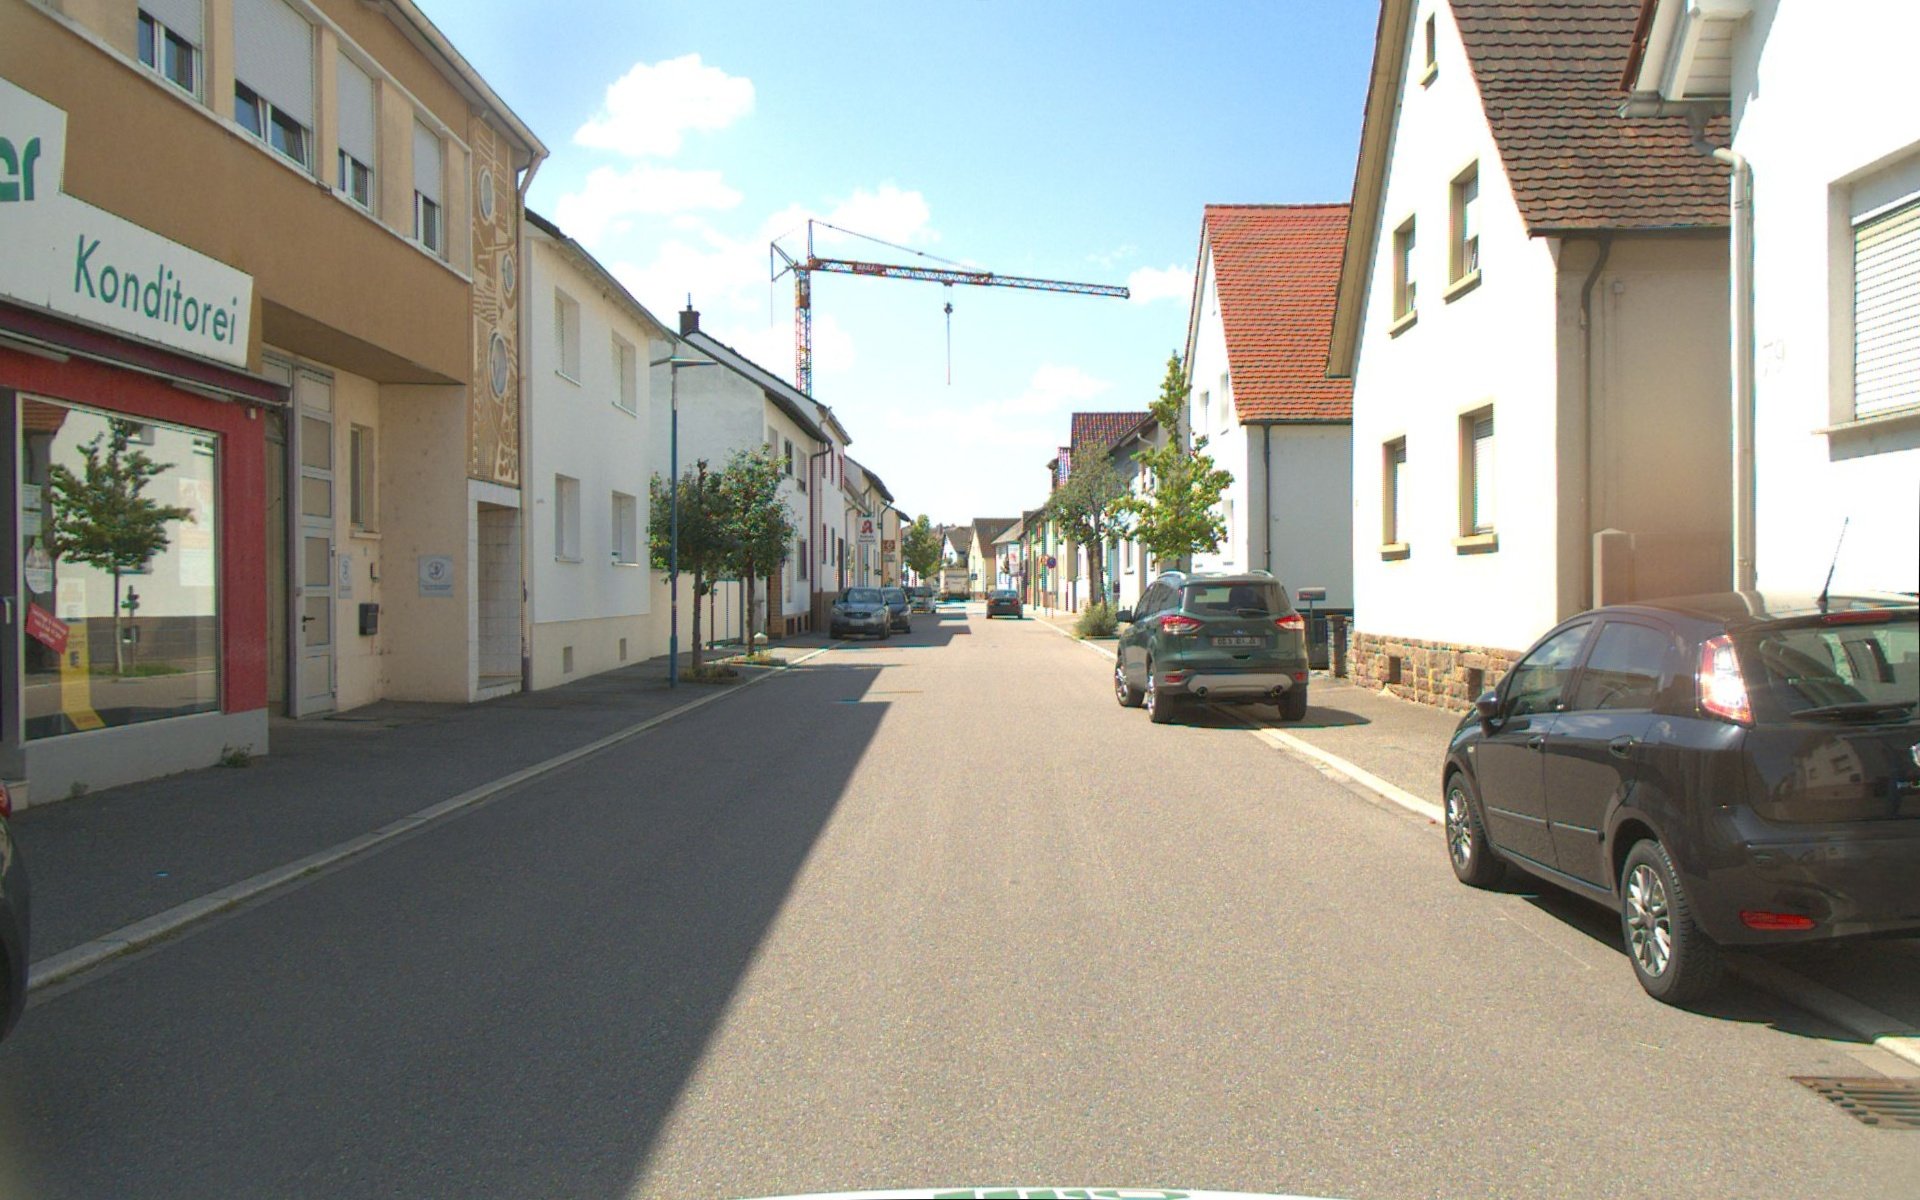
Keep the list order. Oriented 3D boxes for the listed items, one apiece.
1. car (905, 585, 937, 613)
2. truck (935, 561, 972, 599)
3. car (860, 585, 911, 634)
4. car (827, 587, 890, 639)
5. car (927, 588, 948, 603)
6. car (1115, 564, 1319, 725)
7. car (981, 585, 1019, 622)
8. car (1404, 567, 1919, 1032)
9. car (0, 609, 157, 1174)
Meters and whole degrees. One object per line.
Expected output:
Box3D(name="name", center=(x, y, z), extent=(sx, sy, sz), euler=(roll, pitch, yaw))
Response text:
Box3D(name="car", center=(-2.288, -0.092, 98.279), extent=(1.687, 1.583, 4.172), euler=(1, 0, 1))
Box3D(name="truck", center=(-0.747, -2.167, 181.995), extent=(3.312, 3.933, 13.917), euler=(-1, 0, -3))
Box3D(name="car", center=(-2.607, 0.303, 58.795), extent=(1.619, 1.637, 4.061), euler=(-1, 0, 0))
Box3D(name="car", center=(-3.175, 0.392, 52.348), extent=(1.722, 1.551, 4.289), euler=(-1, 0, 0))
Box3D(name="car", center=(-2.931, -0.557, 214.614), extent=(1.791, 1.784, 4.211), euler=(-1, 0, -15))
Box3D(name="car", center=(3.017, 0.475, 20.252), extent=(1.694, 1.747, 4.274), euler=(0, 0, -2))
Box3D(name="car", center=(2.022, 0.193, 83.984), extent=(1.746, 1.784, 3.999), euler=(-1, 0, -1))
Box3D(name="car", center=(3.412, 0.657, 7.650), extent=(1.584, 1.521, 3.971), euler=(-3, 0, 0))
Box3D(name="car", center=(-3.459, 0.793, 2.985), extent=(1.731, 1.485, 4.437), euler=(0, 0, 2))
